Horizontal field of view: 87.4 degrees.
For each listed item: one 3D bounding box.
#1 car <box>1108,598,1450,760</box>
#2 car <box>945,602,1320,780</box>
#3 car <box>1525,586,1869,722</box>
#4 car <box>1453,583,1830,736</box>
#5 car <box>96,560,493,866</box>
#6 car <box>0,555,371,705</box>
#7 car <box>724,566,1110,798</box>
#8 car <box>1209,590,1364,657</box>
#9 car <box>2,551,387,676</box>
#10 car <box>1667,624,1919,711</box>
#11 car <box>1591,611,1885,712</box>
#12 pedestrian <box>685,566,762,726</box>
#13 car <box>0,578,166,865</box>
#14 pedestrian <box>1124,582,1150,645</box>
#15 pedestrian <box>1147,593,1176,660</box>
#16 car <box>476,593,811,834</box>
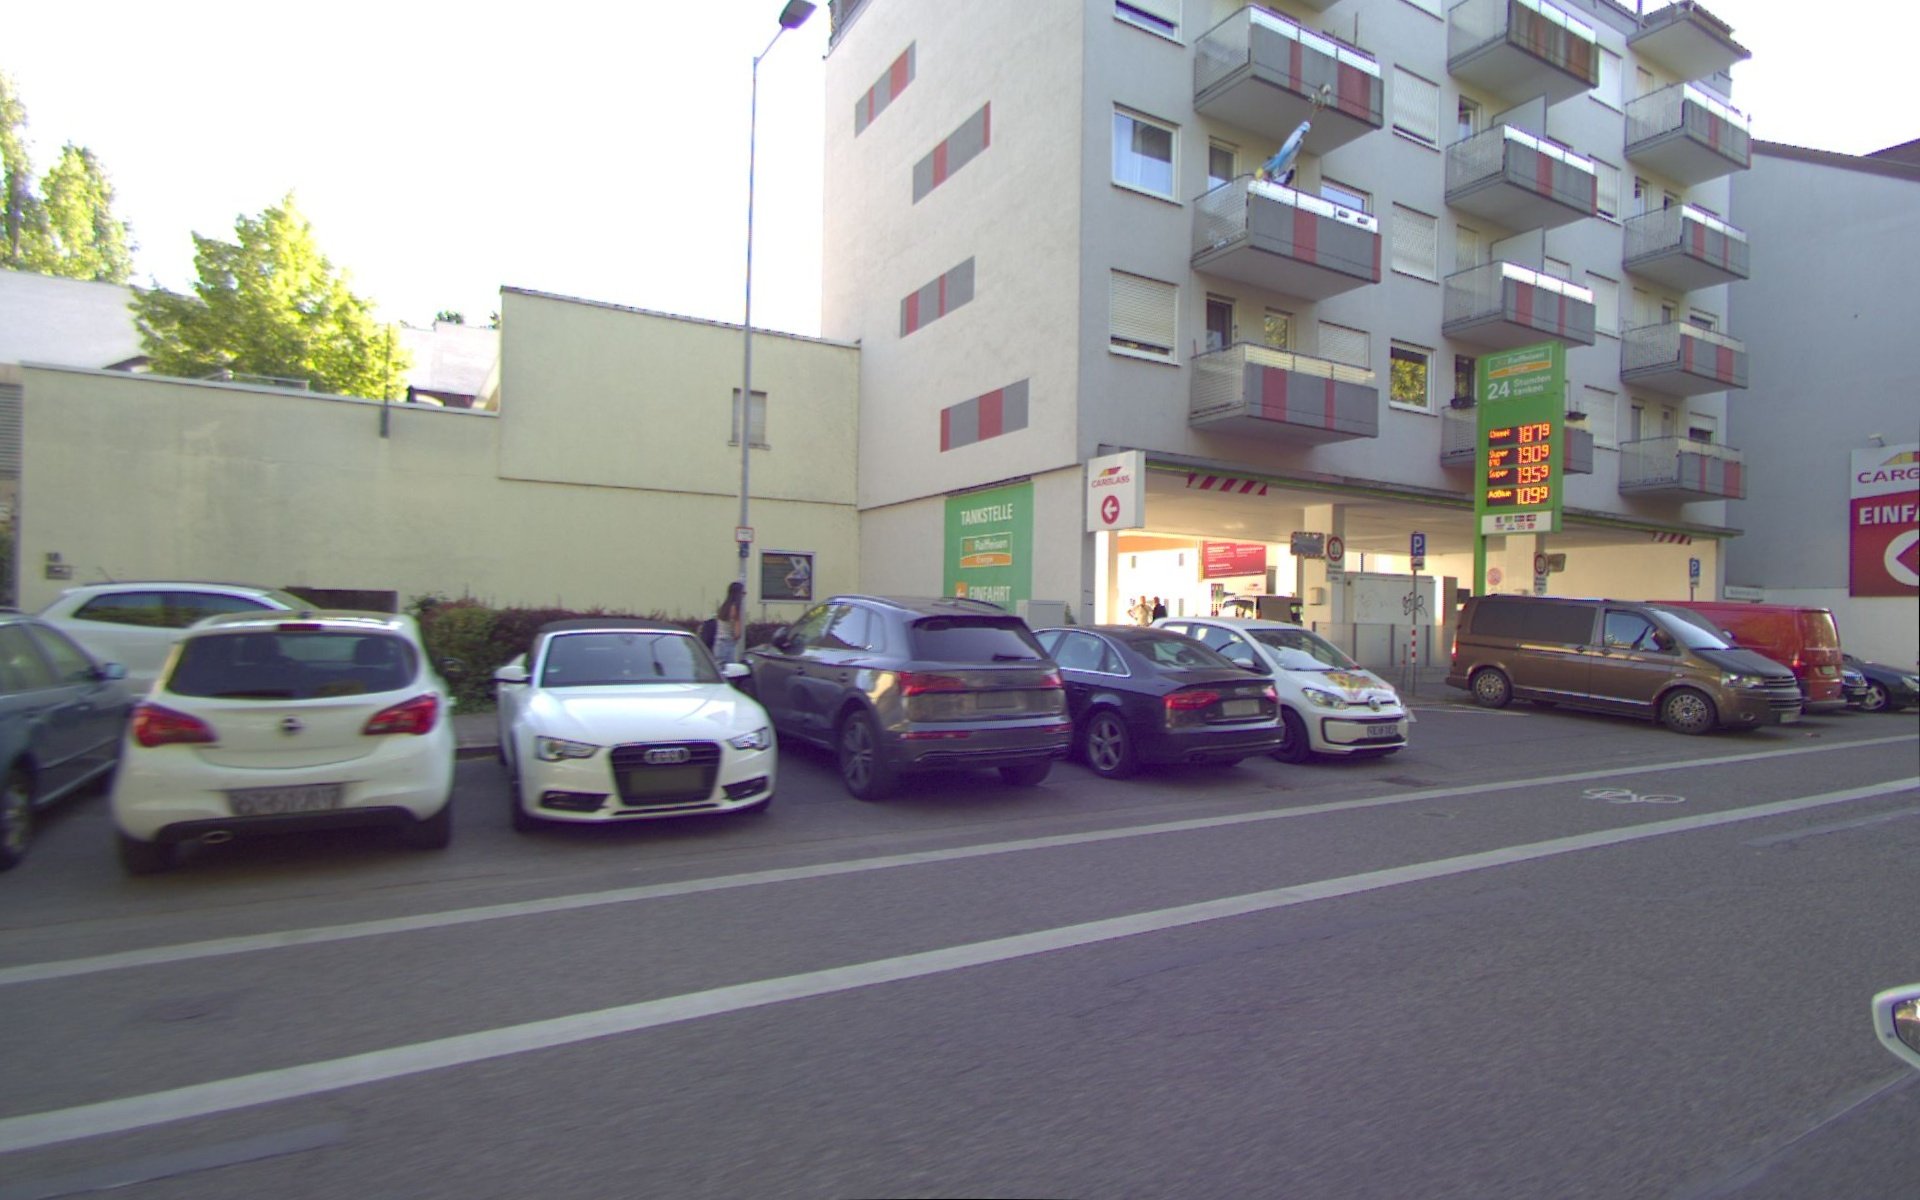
[{"bbox_3d":[3.670,0.825,12.167,1.809,1.533,3.667,2,1,-30],"label":"car"},{"bbox_3d":[1.637,0.816,10.873,1.894,1.475,3.968,2,0,-30],"label":"car"},{"bbox_3d":[12.834,0.831,17.825,2.121,1.978,4.400,2,1,-30],"label":"car"},{"bbox_3d":[10.629,0.808,16.067,2.032,1.978,4.501,2,1,-30],"label":"car"},{"bbox_3d":[-4.624,0.576,7.362,1.831,1.580,3.968,1,0,-30],"label":"car"},{"bbox_3d":[-8.972,0.312,11.335,3.954,1.483,1.781,2,1,-31],"label":"car"},{"bbox_3d":[-0.664,0.604,9.707,2.004,1.706,4.174,2,0,-30],"label":"car"},{"bbox_3d":[9.546,0.721,29.276,4.532,1.770,1.712,3,-2,-31],"label":"car"},{"bbox_3d":[-10.145,0.186,13.753,3.954,1.483,1.781,2,1,-31],"label":"car"},{"bbox_3d":[17.355,1.307,20.600,2.022,1.398,4.209,3,0,-30],"label":"car"},{"bbox_3d":[15.175,1.126,19.841,1.864,1.584,4.153,2,1,-30],"label":"car"},{"bbox_3d":[-2.787,0.527,11.823,0.714,1.813,0.628,1,-1,-30],"label":"pedestrian"},{"bbox_3d":[-6.637,0.584,6.430,1.831,1.452,3.968,2,0,-30],"label":"car"},{"bbox_3d":[4.834,0.367,27.398,0.622,1.671,0.539,1,0,13],"label":"pedestrian"},{"bbox_3d":[5.334,0.692,26.616,0.661,1.724,0.652,1,0,8],"label":"pedestrian"},{"bbox_3d":[-2.839,0.705,8.334,1.831,1.452,3.968,2,0,-30],"label":"car"}]
